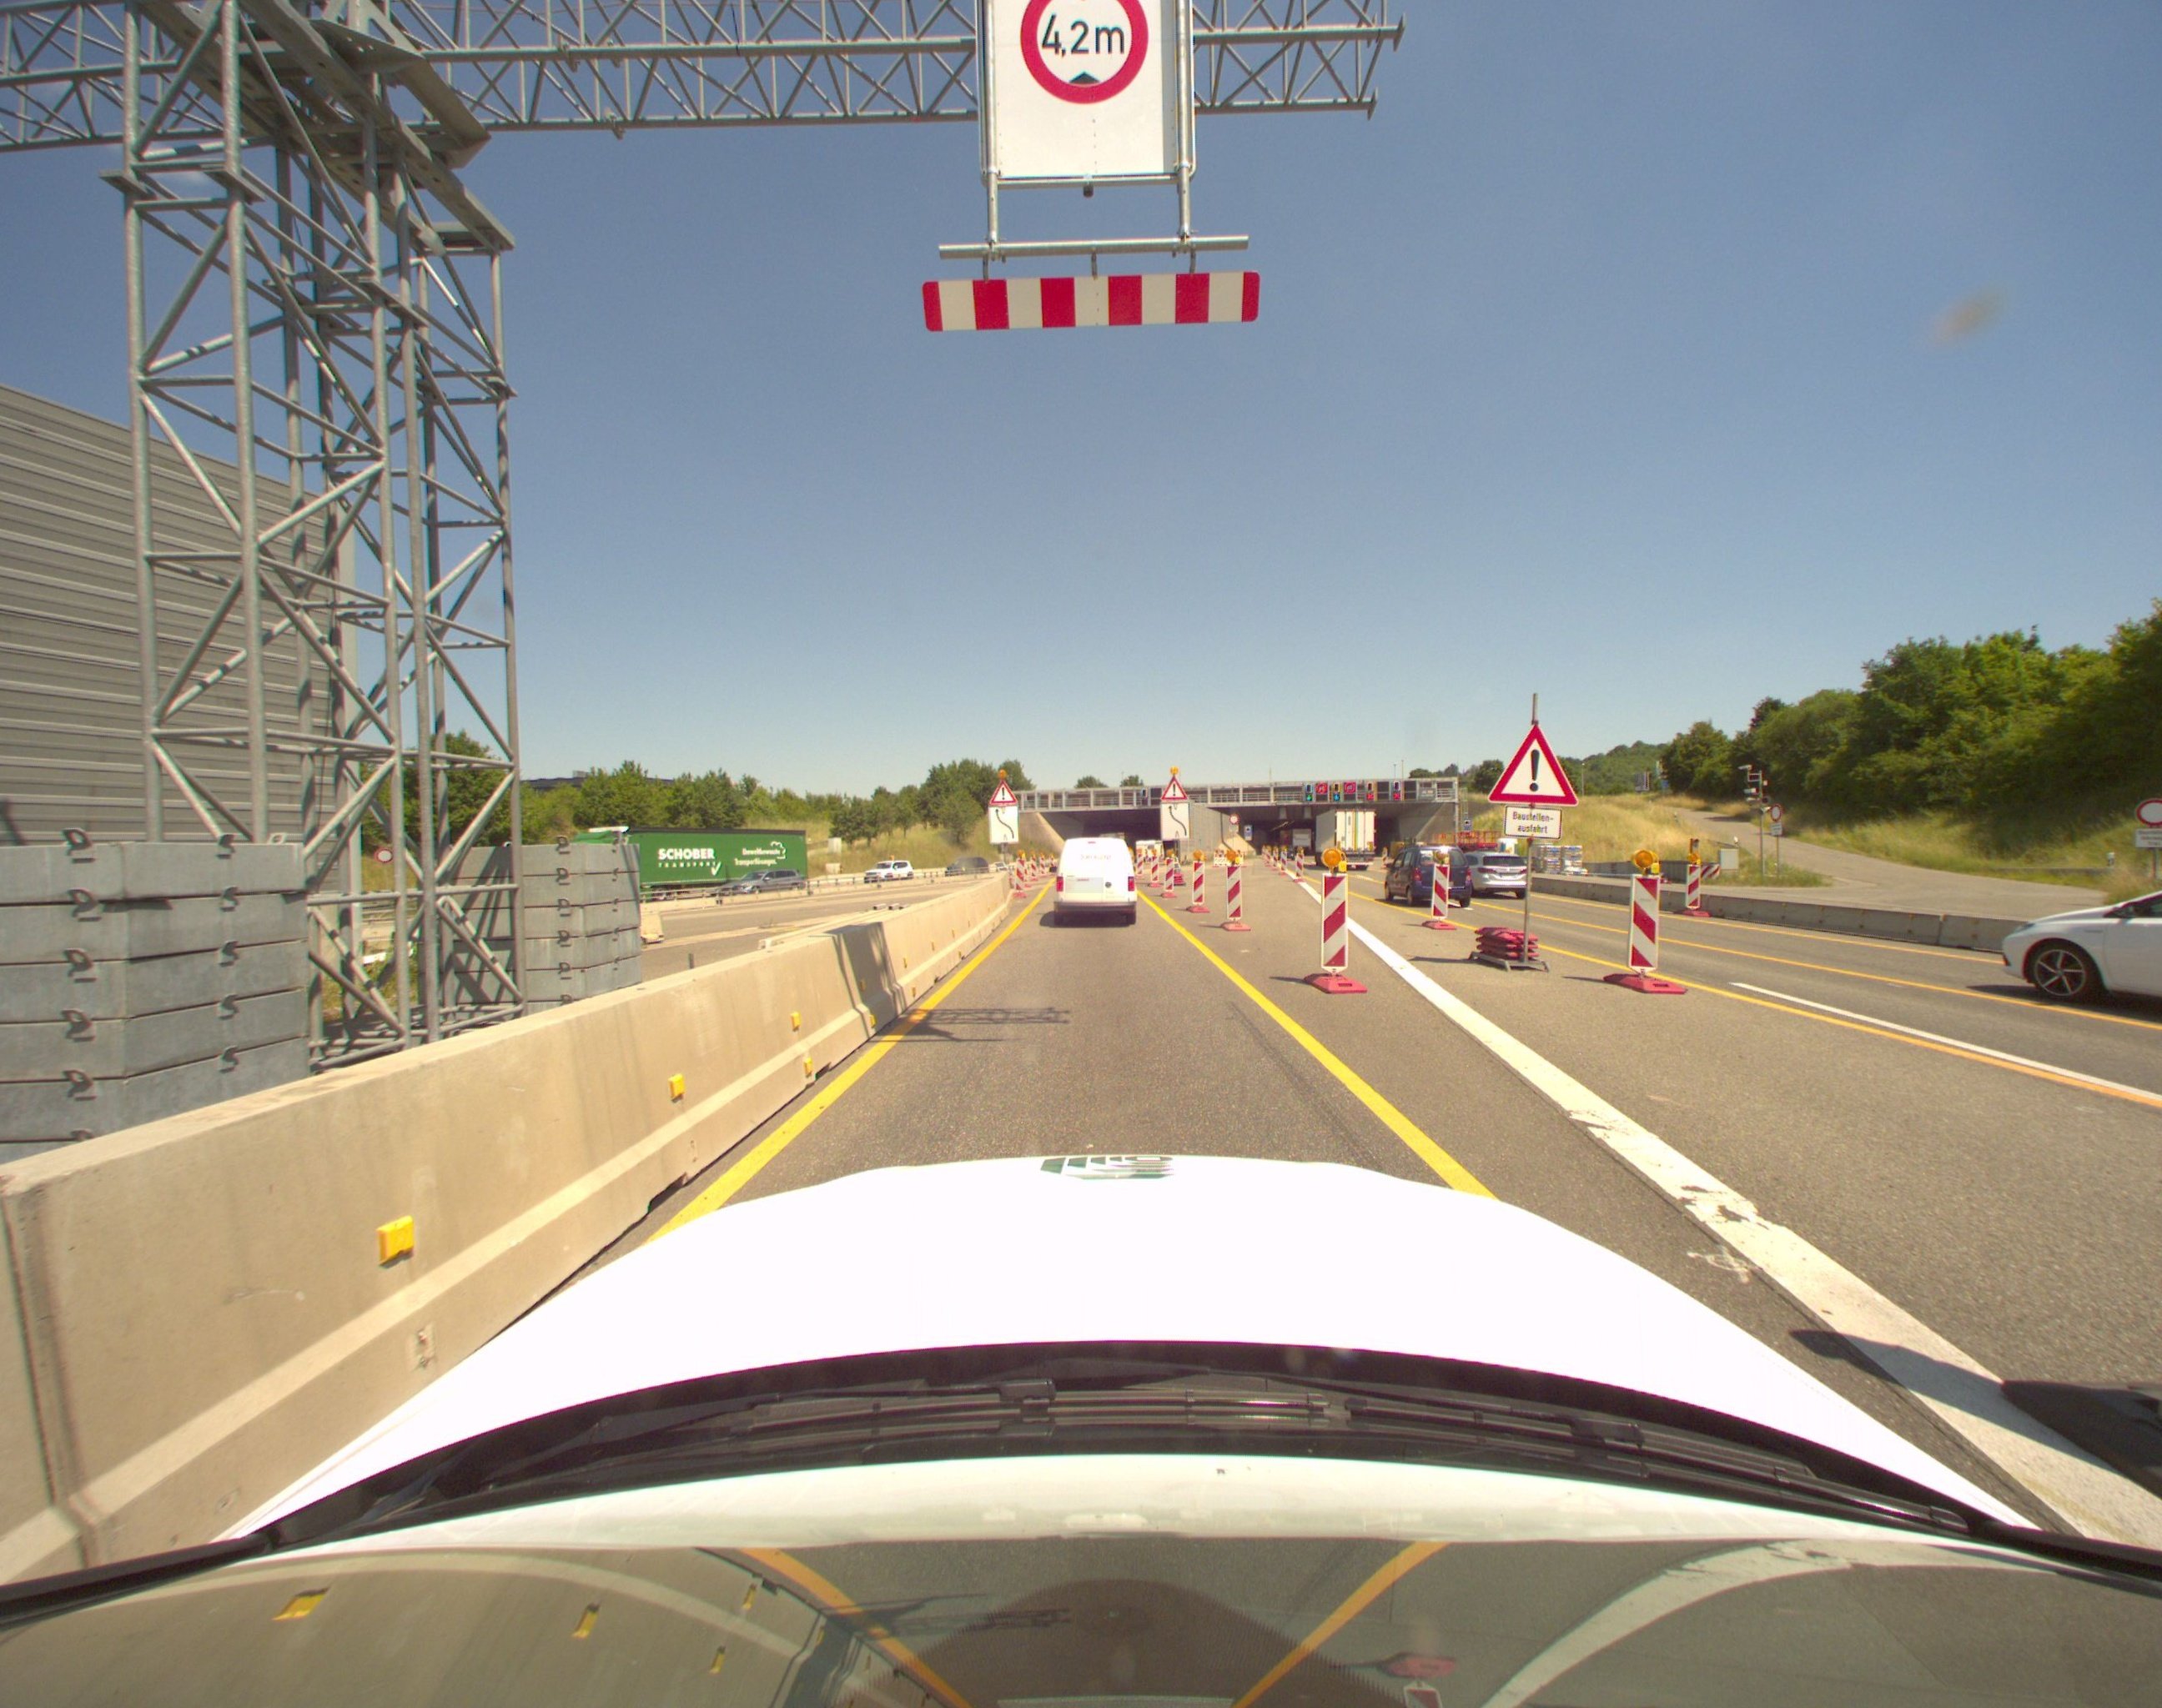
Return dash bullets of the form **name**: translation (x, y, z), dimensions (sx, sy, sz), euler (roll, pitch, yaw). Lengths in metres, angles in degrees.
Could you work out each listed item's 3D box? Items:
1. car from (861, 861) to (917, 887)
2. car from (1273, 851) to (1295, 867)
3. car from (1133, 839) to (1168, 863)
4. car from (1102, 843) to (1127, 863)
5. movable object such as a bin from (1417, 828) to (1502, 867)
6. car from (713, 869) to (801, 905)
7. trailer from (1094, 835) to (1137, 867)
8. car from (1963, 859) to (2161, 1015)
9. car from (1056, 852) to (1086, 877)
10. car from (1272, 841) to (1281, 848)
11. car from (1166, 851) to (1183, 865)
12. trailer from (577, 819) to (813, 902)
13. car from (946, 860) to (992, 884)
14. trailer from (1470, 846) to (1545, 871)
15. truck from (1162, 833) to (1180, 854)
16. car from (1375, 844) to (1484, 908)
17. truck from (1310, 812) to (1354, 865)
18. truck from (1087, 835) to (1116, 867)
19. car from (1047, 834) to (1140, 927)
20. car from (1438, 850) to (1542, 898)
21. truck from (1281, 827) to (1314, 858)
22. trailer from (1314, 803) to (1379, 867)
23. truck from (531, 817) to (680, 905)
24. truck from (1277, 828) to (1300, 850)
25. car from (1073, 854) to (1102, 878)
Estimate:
- **car**: translation (-13.296, 1.362, 56.592), dimensions (1.701, 1.623, 4.191), euler (-1, 0, 20)
- **car**: translation (21.594, 0.530, 86.918), dimensions (1.805, 1.630, 4.198), euler (0, 0, 7)
- **car**: translation (8.272, -0.295, 96.195), dimensions (2.792, 2.773, 7.130), euler (0, -1, 16)
- **car**: translation (3.178, -0.076, 76.195), dimensions (1.798, 1.751, 4.420), euler (-2, 0, 9)
- **movable object such as a bin**: translation (33.289, -0.517, 72.476), dimensions (3.092, 3.011, 14.743), euler (-2, 0, 10)
- **car**: translation (-16.127, 1.594, 40.779), dimensions (1.701, 1.623, 4.191), euler (-1, 0, 20)
- **trailer**: translation (5.204, -0.478, 118.811), dimensions (2.416, 4.296, 13.876), euler (-2, 0, 19)
- **car**: translation (11.000, 0.787, 7.164), dimensions (1.806, 1.465, 4.660), euler (1, -1, 6)
- **car**: translation (-0.672, 0.659, 53.184), dimensions (1.804, 1.537, 4.407), euler (-2, 0, -2)
- **car**: translation (55.407, -2.634, 230.937), dimensions (2.317, 1.838, 4.556), euler (0, 0, 10)
- **car**: translation (13.417, 0.557, 116.637), dimensions (1.940, 1.815, 4.425), euler (-2, 0, 13)
- **trailer**: translation (-22.385, 0.349, 48.994), dimensions (3.515, 4.270, 13.984), euler (0, 0, 23)
- **car**: translation (-8.386, 1.334, 61.329), dimensions (1.701, 1.623, 4.191), euler (-1, 0, 20)
- **trailer**: translation (30.186, 0.306, 57.939), dimensions (2.581, 1.569, 6.247), euler (-2, 0, 6)
- **truck**: translation (18.084, -2.063, 163.583), dimensions (2.315, 4.108, 5.042), euler (-2, 0, 19)
- **car**: translation (9.974, 0.580, 23.688), dimensions (1.804, 1.642, 4.664), euler (0, 0, 8)
- **truck**: translation (20.294, -1.201, 66.061), dimensions (2.728, 4.033, 5.943), euler (0, 0, 10)
- **truck**: translation (2.866, -0.420, 111.926), dimensions (2.411, 4.270, 4.862), euler (-2, 0, 19)
- **car**: translation (0.287, 0.518, 18.028), dimensions (1.802, 1.794, 3.732), euler (-2, 0, 1)
- **car**: translation (13.668, 0.608, 27.514), dimensions (1.804, 1.464, 4.664), euler (0, 0, 9)
- **truck**: translation (32.602, -1.572, 123.233), dimensions (3.381, 4.335, 16.582), euler (1, -1, 10)
- **trailer**: translation (18.987, -1.217, 59.184), dimensions (2.715, 4.062, 14.136), euler (0, 0, 11)
- **truck**: translation (-24.923, 0.340, 42.992), dimensions (3.515, 4.270, 5.810), euler (0, 0, 23)
- **truck**: translation (41.163, -2.826, 161.957), dimensions (3.380, 4.071, 16.583), euler (0, 0, 10)
- **car**: translation (0.566, 0.979, 66.925), dimensions (1.799, 1.815, 4.418), euler (-2, 0, 7)
